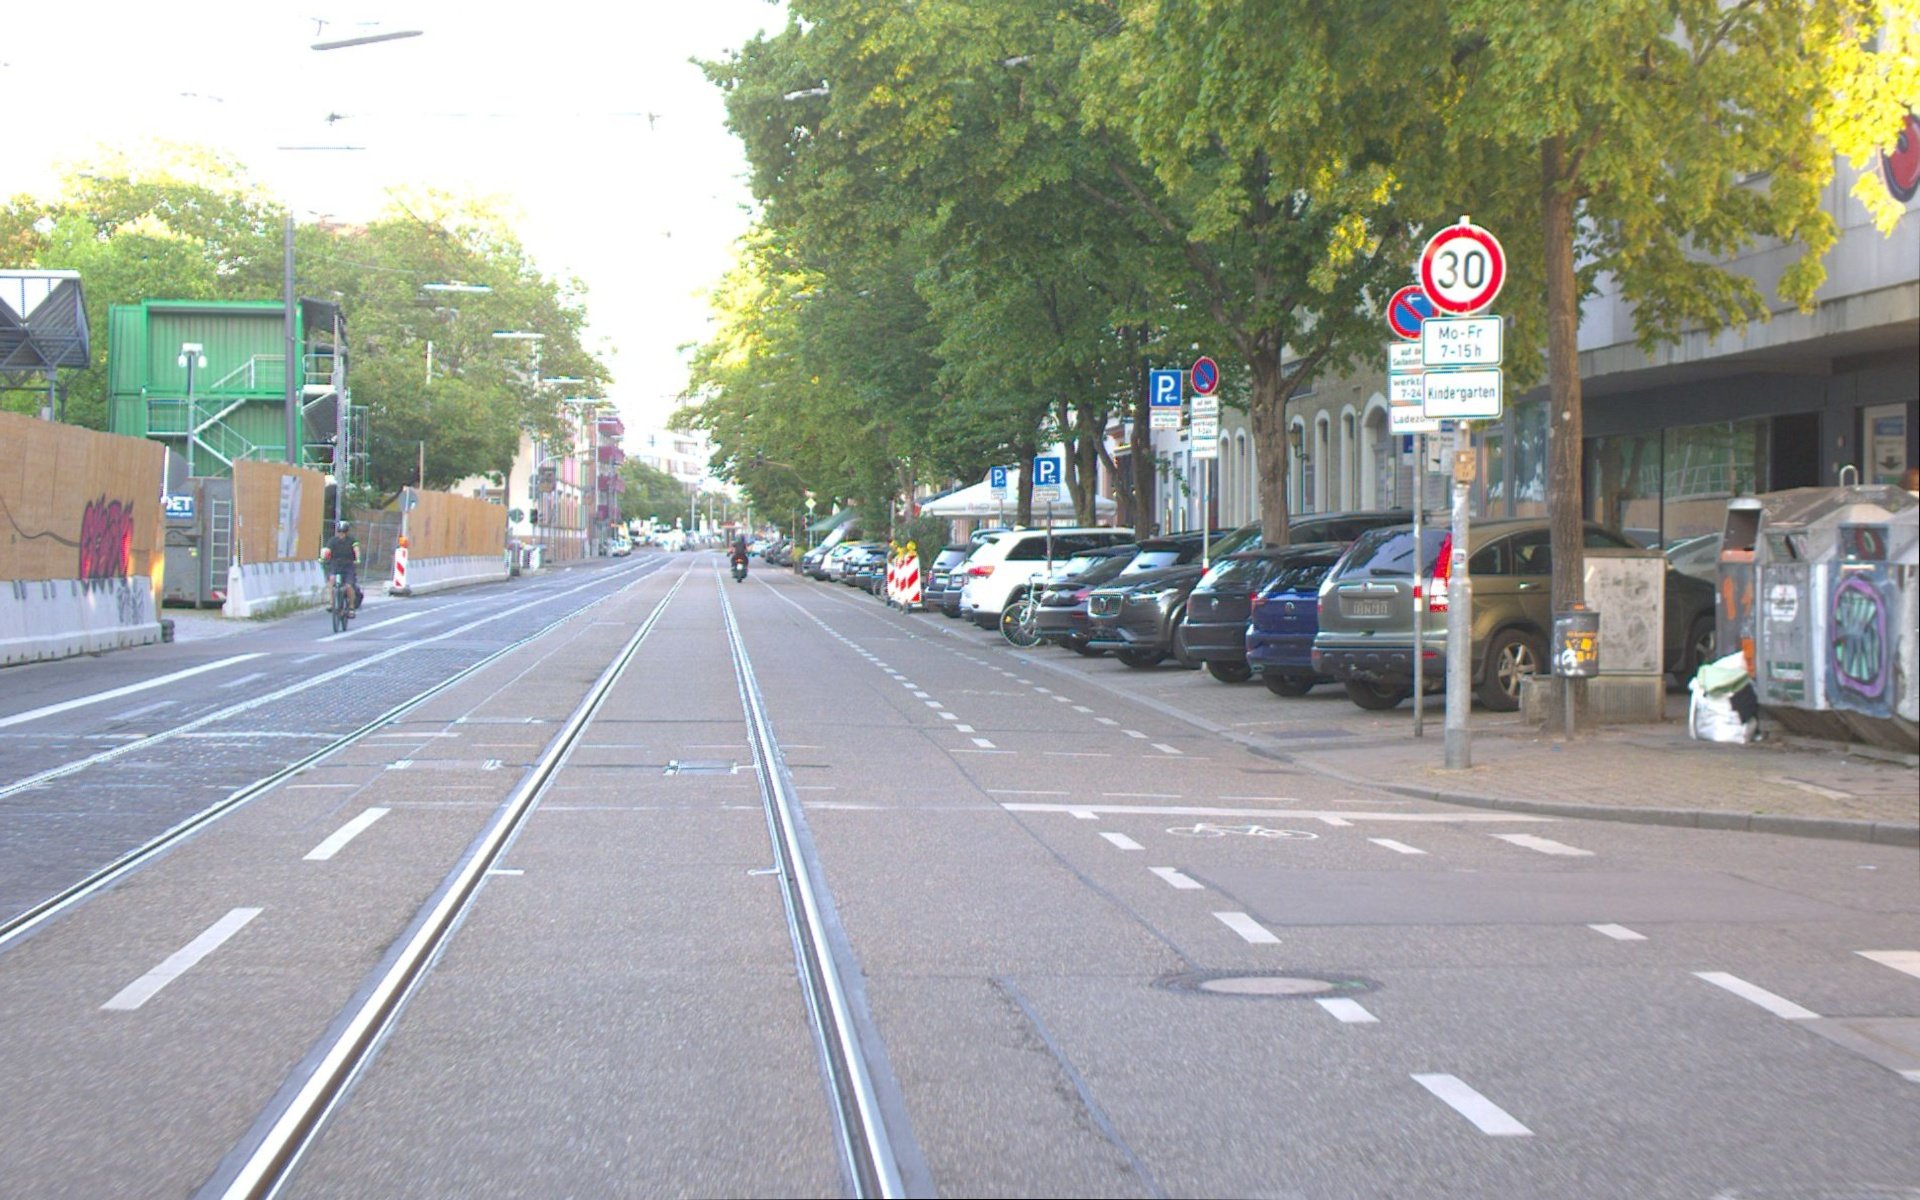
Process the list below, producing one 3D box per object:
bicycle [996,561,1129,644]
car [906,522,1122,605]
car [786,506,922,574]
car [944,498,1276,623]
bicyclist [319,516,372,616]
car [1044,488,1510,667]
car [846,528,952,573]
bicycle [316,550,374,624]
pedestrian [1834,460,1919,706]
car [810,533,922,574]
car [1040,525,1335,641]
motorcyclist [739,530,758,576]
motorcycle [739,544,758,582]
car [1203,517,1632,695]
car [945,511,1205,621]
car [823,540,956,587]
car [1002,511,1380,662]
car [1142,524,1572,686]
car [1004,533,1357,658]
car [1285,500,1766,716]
[{"bbox_3d":[1.492,0.027,50.118,1.835,1.099,0.498,-3,2,-17],"label":"bicycle"},{"bbox_3d":[1.088,-0.735,68.789,3.961,1.548,1.706,-2,1,-29],"label":"car"},{"bbox_3d":[-4.352,-2.458,141.153,5.094,2.633,2.022,-2,1,-20],"label":"car"},{"bbox_3d":[2.246,-0.616,52.148,4.647,1.682,2.008,-2,1,-9],"label":"car"},{"bbox_3d":[-10.301,-0.579,57.680,0.768,1.660,1.018,0,1,-4],"label":"bicyclist"},{"bbox_3d":[3.746,-0.289,40.666,4.963,1.820,2.209,-3,1,-22],"label":"car"},{"bbox_3d":[-2.371,-1.894,132.864,3.950,1.614,1.921,-1,0,-3],"label":"car"},{"bbox_3d":[-10.301,-0.231,57.638,0.768,1.224,1.936,0,1,-4],"label":"bicycle"},{"bbox_3d":[7.670,-0.150,28.185,0.691,1.978,0.786,-2,1,-4],"label":"pedestrian"},{"bbox_3d":[-3.723,-1.842,136.547,3.950,1.481,1.921,-2,0,-28],"label":"car"},{"bbox_3d":[3.207,-0.253,48.343,3.747,1.421,1.727,-3,2,-28],"label":"car"},{"bbox_3d":[-7.808,-1.720,126.989,0.645,1.691,1.026,0,0,-5],"label":"motorcyclist"},{"bbox_3d":[-7.799,-1.355,126.884,0.645,1.364,1.812,0,0,-5],"label":"motorcycle"},{"bbox_3d":[4.491,0.037,33.571,3.882,1.497,1.813,-4,2,-34],"label":"car"},{"bbox_3d":[2.042,-0.606,60.883,4.147,1.800,2.008,-2,1,-32],"label":"car"},{"bbox_3d":[-2.460,-1.272,119.396,4.249,1.543,2.020,-1,1,-14],"label":"car"},{"bbox_3d":[2.876,-0.186,42.943,4.211,1.643,1.976,-3,1,-22],"label":"car"},{"bbox_3d":[4.231,0.031,36.500,4.154,1.460,1.971,-3,2,-32],"label":"car"},{"bbox_3d":[2.945,-0.076,45.829,4.212,1.421,1.976,-3,2,-26],"label":"car"},{"bbox_3d":[5.073,0.037,30.601,4.156,1.658,1.842,-4,2,-38],"label":"car"}]
